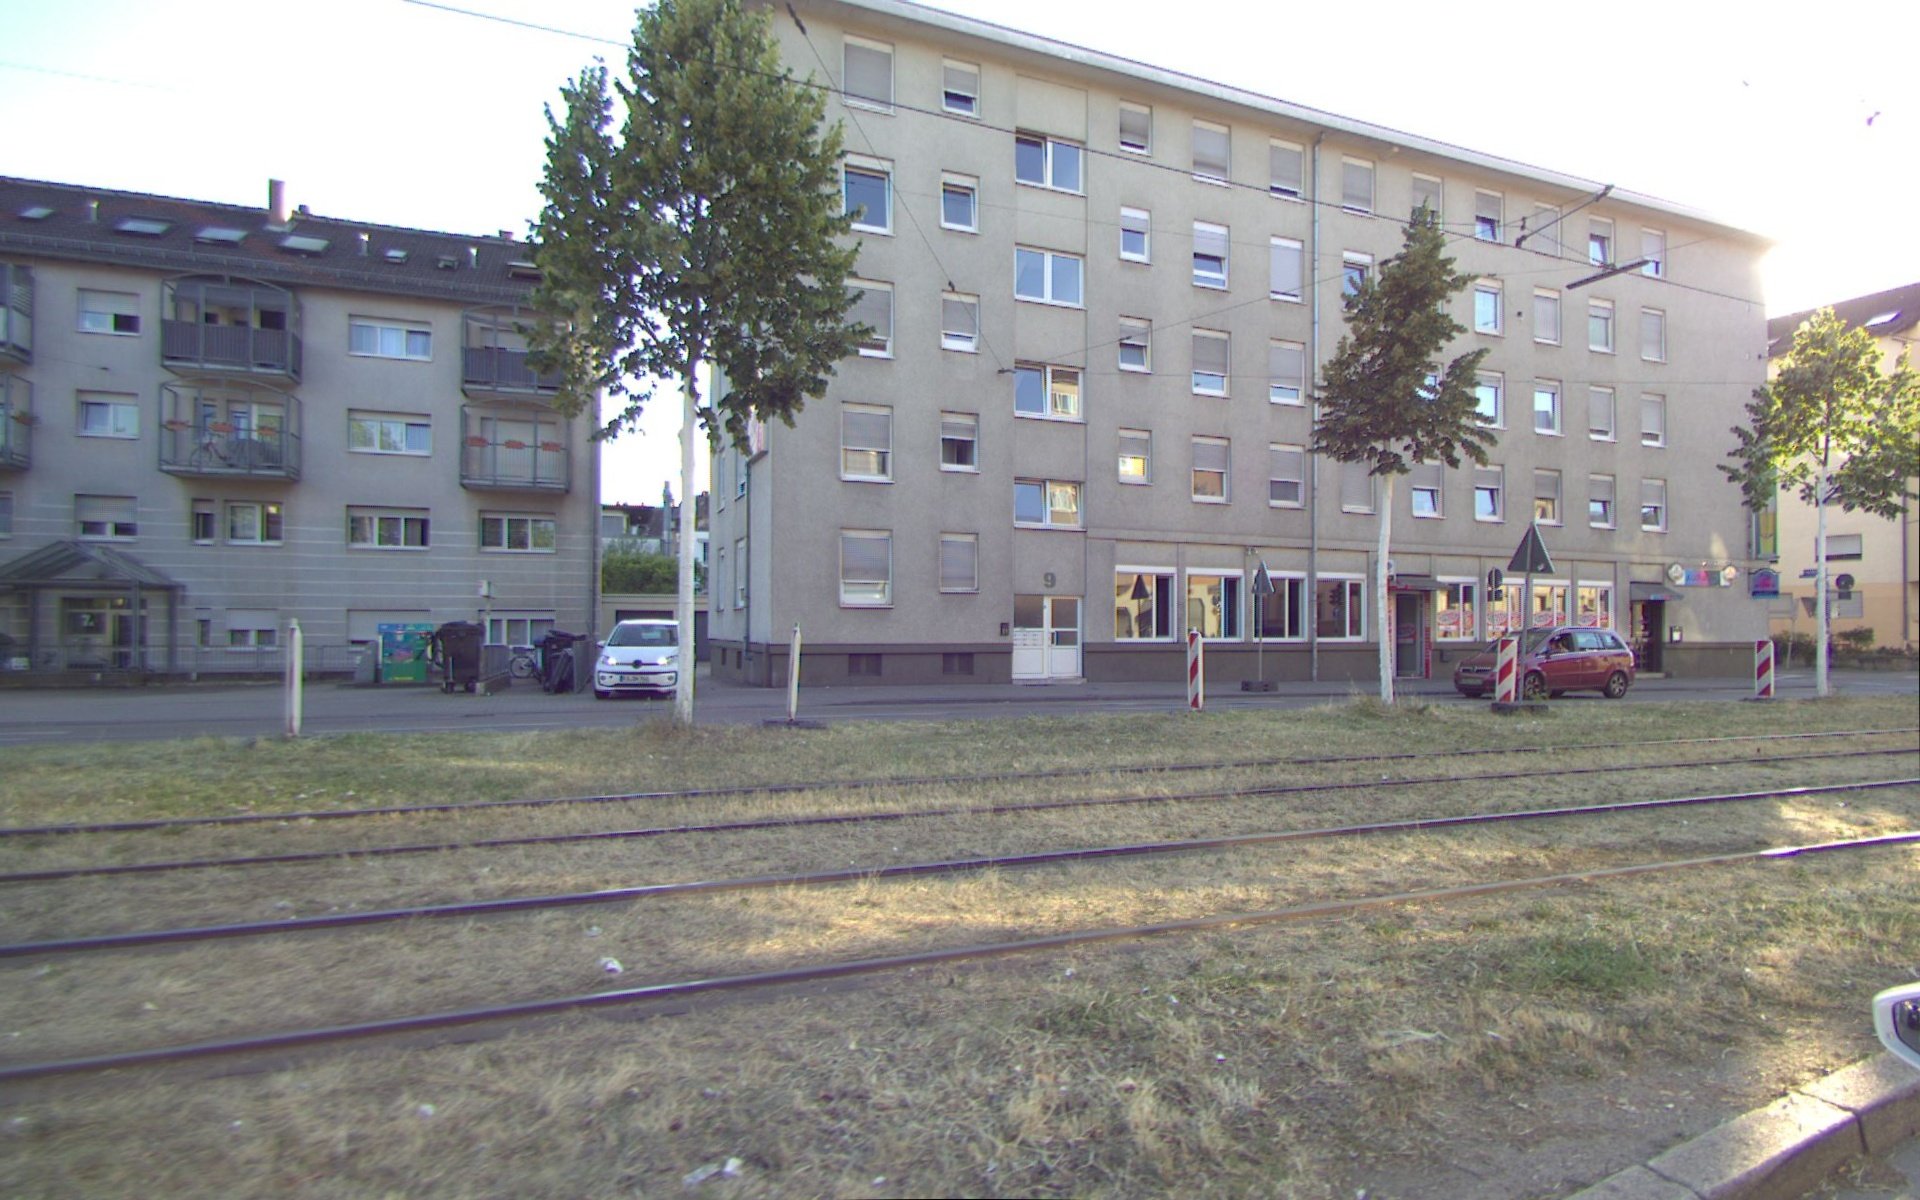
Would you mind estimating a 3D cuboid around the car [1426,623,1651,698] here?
[{"bbox_3d":[13.247,1.391,23.005,4.860,1.580,1.810,2,-3,-20],"label":"car"}]

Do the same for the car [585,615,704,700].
[{"bbox_3d":[-6.202,1.121,20.145,1.785,1.532,3.823,1,-2,-10],"label":"car"}]

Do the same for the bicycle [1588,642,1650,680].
[{"bbox_3d":[20.386,1.868,31.066,1.752,1.129,0.745,1,-2,-22],"label":"bicycle"}]

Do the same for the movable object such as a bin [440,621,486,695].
[{"bbox_3d":[-9.677,1.121,19.579,0.738,1.419,0.662,1,-2,-23],"label":"movable object such as a bin"}]
